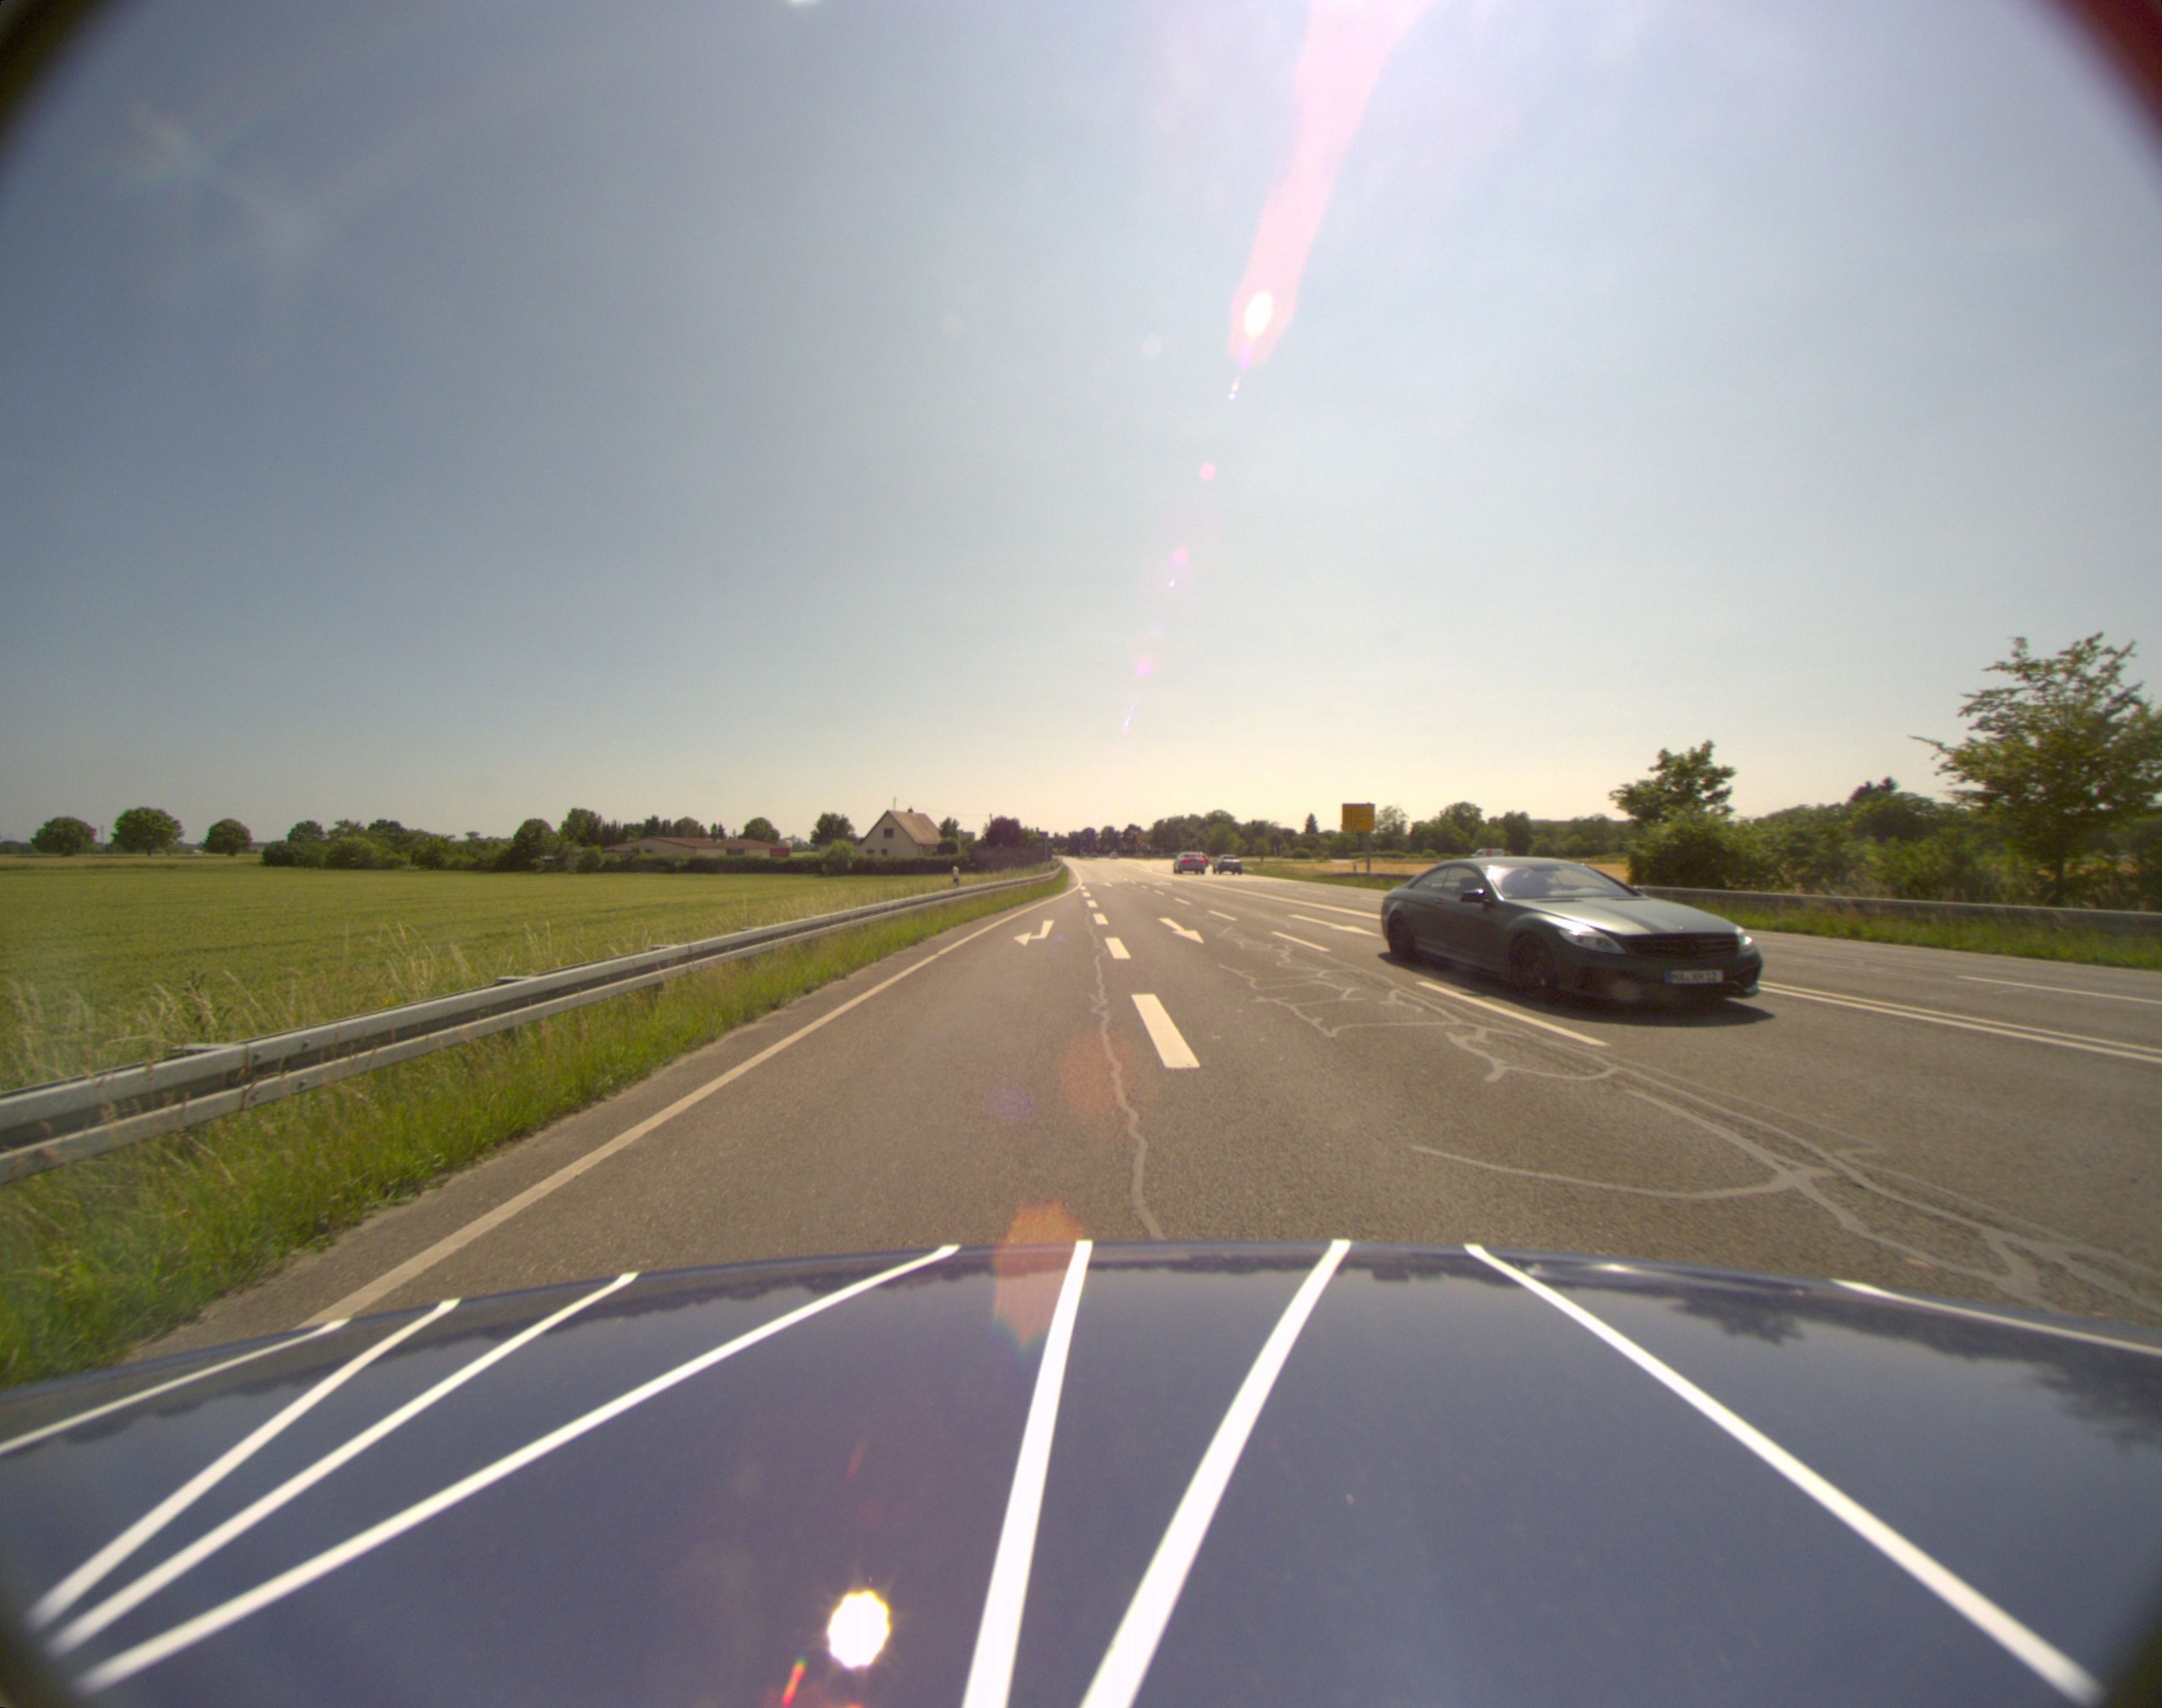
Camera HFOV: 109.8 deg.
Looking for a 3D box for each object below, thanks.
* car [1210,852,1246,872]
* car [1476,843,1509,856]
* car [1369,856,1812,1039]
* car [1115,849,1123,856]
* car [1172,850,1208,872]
[{"bbox_3d":[11.599,0.614,60.218,1.824,1.499,4.126,2,0,-2],"label":"car"},{"bbox_3d":[94.686,-1.085,174.942,6.374,2.893,2.001,-2,2,7],"label":"car"},{"bbox_3d":[5.261,0.804,8.888,1.816,1.441,4.876,-2,1,-1],"label":"car"},{"bbox_3d":[8.401,-0.391,167.550,1.753,1.434,4.083,-1,1,5],"label":"car"},{"bbox_3d":[8.362,0.525,58.690,1.845,1.578,4.874,2,0,-1],"label":"car"}]
